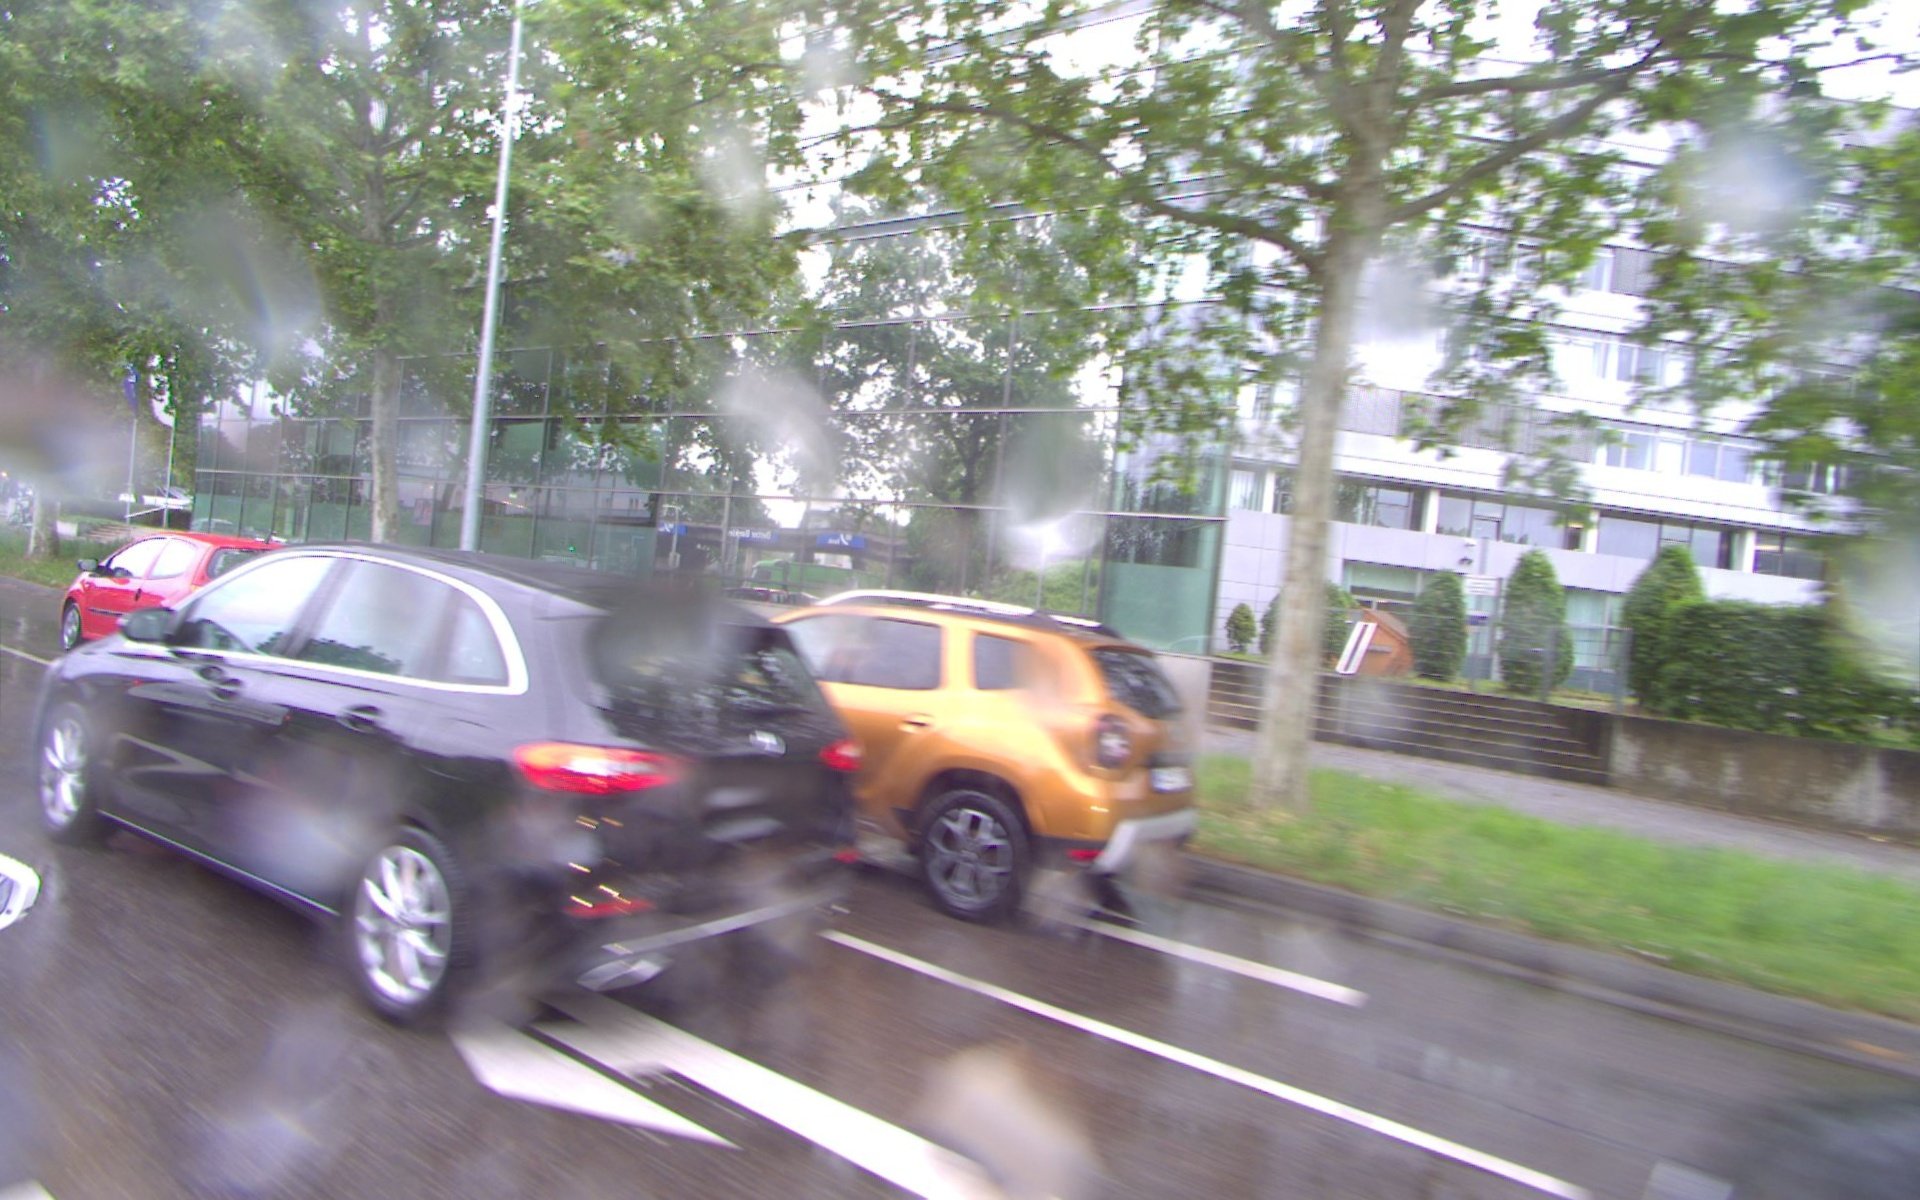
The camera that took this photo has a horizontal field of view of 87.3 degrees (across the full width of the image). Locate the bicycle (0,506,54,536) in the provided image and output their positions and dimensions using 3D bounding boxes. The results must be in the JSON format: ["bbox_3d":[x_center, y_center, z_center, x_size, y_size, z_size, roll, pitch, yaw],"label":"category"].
[{"bbox_3d":[-46.678,-3.935,50.236,0.612,1.200,3.364,7,-1,-16],"label":"bicycle"}]

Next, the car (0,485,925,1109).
[{"bbox_3d":[-2.387,0.497,4.538,4.022,1.573,1.751,6,-1,31],"label":"car"}]

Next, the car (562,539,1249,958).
[{"bbox_3d":[-0.474,0.735,6.569,4.079,1.704,1.679,7,-2,32],"label":"car"}]

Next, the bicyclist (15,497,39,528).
[{"bbox_3d":[-46.639,-4.347,50.282,0.612,1.436,0.469,7,0,-17],"label":"bicyclist"}]

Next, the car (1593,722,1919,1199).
[{"bbox_3d":[2.775,1.123,0.804,3.718,1.445,1.679,6,-1,32],"label":"car"}]

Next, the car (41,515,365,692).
[{"bbox_3d":[-8.284,0.022,10.970,3.332,1.480,1.572,7,-1,31],"label":"car"}]

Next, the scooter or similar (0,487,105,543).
[{"bbox_3d":[-52.284,-4.901,57.145,5.227,2.476,1.893,7,0,-9],"label":"scooter or similar"}]
